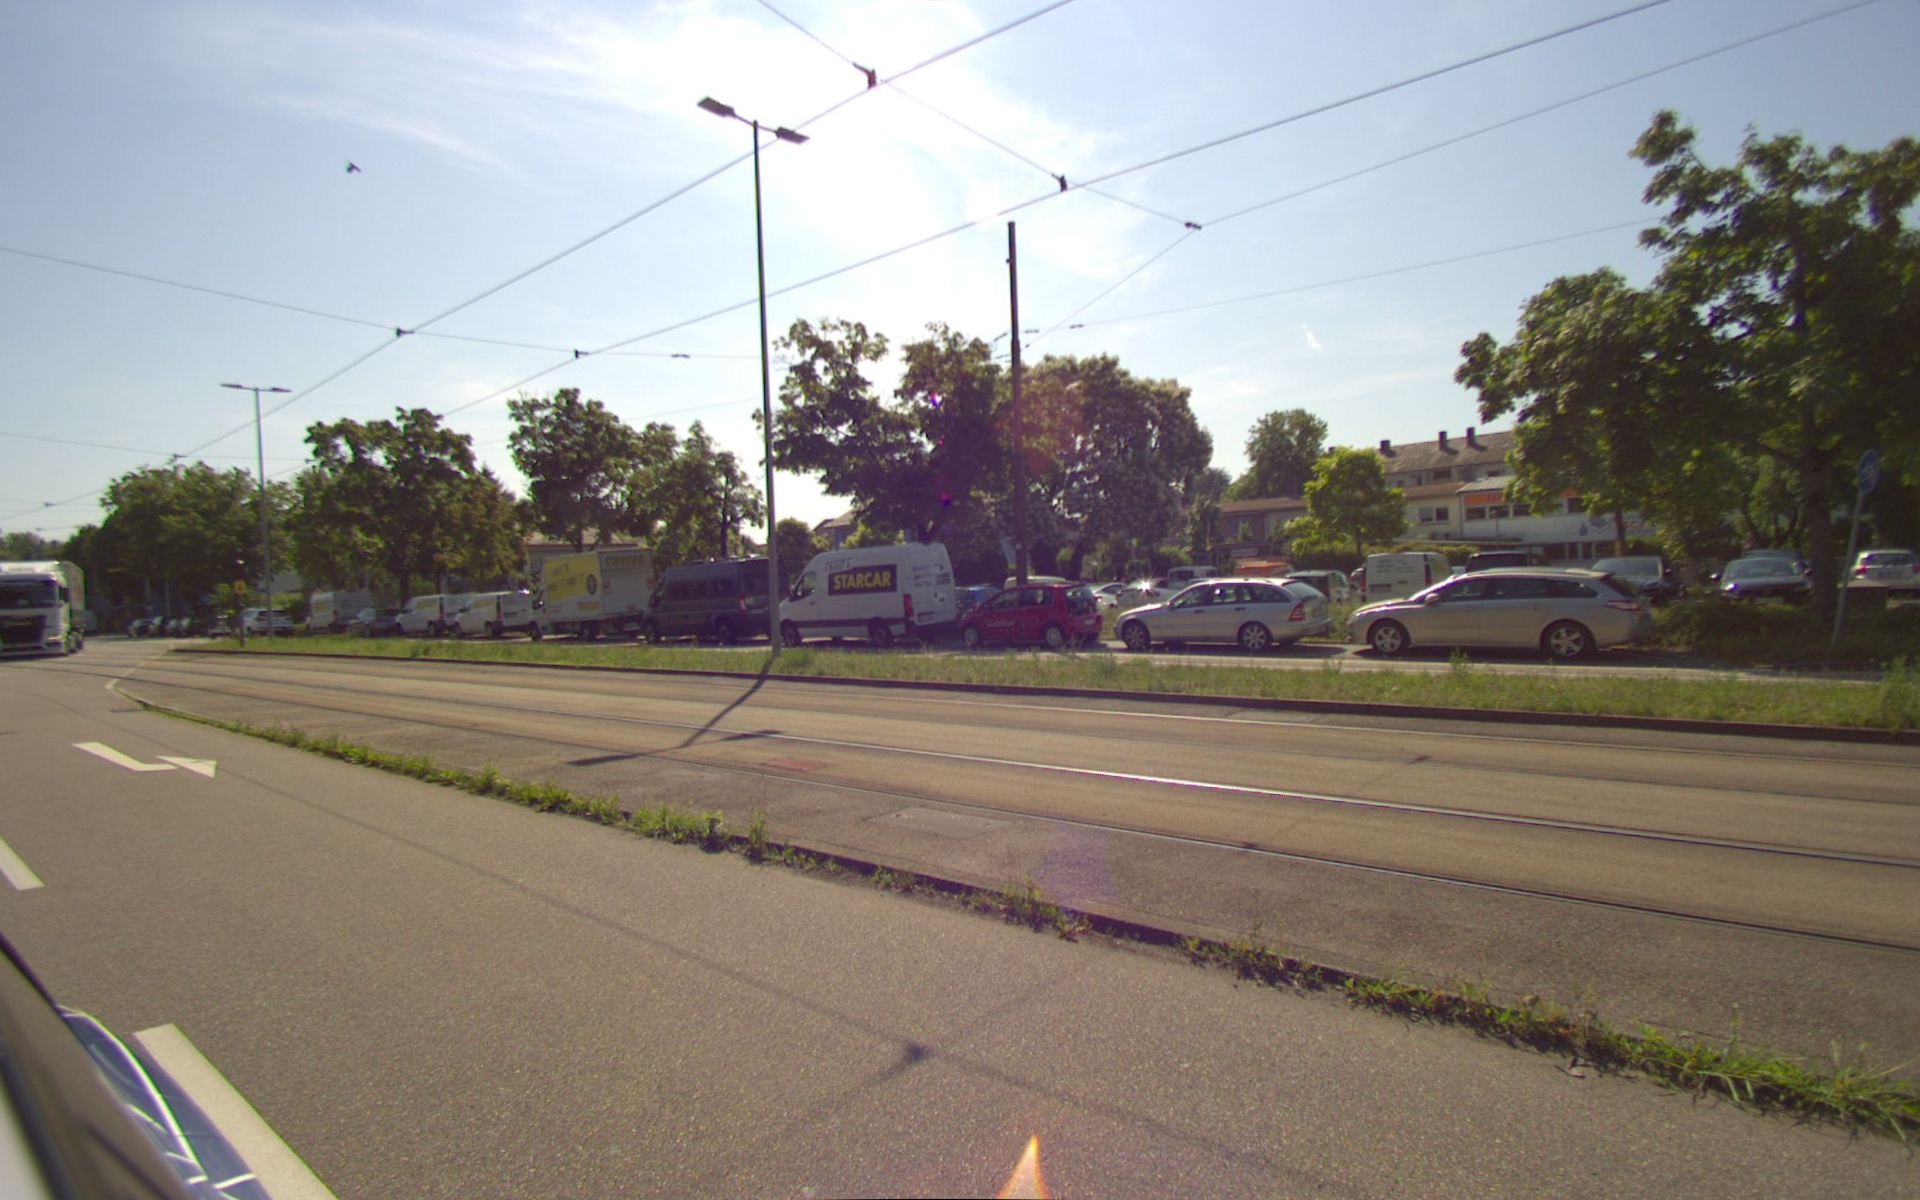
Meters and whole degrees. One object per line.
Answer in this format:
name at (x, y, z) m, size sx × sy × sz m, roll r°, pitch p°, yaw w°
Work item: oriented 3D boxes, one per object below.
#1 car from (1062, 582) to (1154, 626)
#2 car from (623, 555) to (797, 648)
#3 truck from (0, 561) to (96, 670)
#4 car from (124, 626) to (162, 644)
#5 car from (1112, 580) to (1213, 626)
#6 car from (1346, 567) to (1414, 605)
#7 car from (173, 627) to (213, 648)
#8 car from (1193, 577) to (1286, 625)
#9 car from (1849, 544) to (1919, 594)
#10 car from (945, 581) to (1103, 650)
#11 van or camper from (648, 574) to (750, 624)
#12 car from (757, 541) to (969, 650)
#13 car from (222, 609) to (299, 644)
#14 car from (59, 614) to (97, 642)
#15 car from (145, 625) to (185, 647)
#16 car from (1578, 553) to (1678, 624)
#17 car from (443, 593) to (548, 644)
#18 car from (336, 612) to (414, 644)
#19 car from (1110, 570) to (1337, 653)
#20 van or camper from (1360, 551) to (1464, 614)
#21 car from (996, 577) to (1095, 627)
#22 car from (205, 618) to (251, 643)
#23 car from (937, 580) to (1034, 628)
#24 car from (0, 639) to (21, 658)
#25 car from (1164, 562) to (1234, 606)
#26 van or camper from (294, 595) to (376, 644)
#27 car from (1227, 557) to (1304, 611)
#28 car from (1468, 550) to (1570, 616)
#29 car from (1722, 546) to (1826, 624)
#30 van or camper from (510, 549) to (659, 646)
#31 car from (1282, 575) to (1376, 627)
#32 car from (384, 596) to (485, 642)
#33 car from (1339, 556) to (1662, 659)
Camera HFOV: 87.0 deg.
car at (5.259, 0.115, 35.644) m, size 1.487 × 1.381 × 3.950 m, roll -2°, pitch 0°, yaw 37°
car at (-8.144, 0.069, 32.543) m, size 6.075 × 2.688 × 2.174 m, roll -2°, pitch 2°, yaw 41°
truck at (-40.805, 0.749, 44.769) m, size 3.341 × 4.099 × 14.312 m, roll -4°, pitch 2°, yaw -39°
car at (-70.268, 3.015, 87.005) m, size 4.453 × 1.446 × 1.658 m, roll -2°, pitch 0°, yaw 39°
car at (6.766, 0.088, 33.626) m, size 1.658 × 1.381 × 3.949 m, roll -2°, pitch 0°, yaw 38°
car at (17.184, -0.593, 41.328) m, size 1.530 × 1.435 × 3.808 m, roll -2°, pitch 0°, yaw 39°
car at (-57.329, 2.819, 75.618) m, size 4.082 × 1.461 × 1.598 m, roll -2°, pitch 0°, yaw 42°
car at (8.948, -0.003, 32.236) m, size 1.487 × 1.381 × 3.950 m, roll -2°, pitch 0°, yaw 37°
car at (28.960, -0.973, 31.511) m, size 1.674 × 1.435 × 3.934 m, roll -2°, pitch 0°, yaw 39°
car at (1.472, 0.371, 24.081) m, size 3.673 × 1.501 × 1.279 m, roll -2°, pitch 1°, yaw 39°
van or camper at (-18.617, -0.103, 72.586) m, size 2.579 × 3.269 × 6.883 m, roll -2°, pitch 1°, yaw 39°
car at (-2.779, -0.079, 27.853) m, size 5.976 × 2.650 × 2.173 m, roll -2°, pitch 2°, yaw 42°
car at (-34.466, 1.323, 49.820) m, size 4.657 × 1.609 × 2.022 m, roll -2°, pitch -1°, yaw 41°
car at (-93.622, 2.971, 107.378) m, size 6.083 × 2.670 × 1.991 m, roll -2°, pitch 4°, yaw 41°
car at (-64.594, 2.907, 82.178) m, size 4.238 × 1.625 × 1.658 m, roll -2°, pitch 1°, yaw 39°
car at (16.373, -0.287, 24.730) m, size 1.661 × 1.574 × 3.948 m, roll -2°, pitch 0°, yaw 39°
car at (-20.116, 0.828, 43.744) m, size 5.184 × 1.955 × 2.173 m, roll -2°, pitch 2°, yaw 42°
car at (-30.078, 1.447, 51.998) m, size 4.883 × 1.465 × 1.912 m, roll -2°, pitch 2°, yaw 41°
car at (5.308, 0.272, 20.800) m, size 4.348 × 1.501 × 1.279 m, roll -2°, pitch 2°, yaw 41°
van or camper at (12.604, -0.498, 28.081) m, size 1.872 × 1.574 × 3.952 m, roll -2°, pitch 0°, yaw 35°
car at (3.236, 0.052, 37.740) m, size 1.662 × 1.707 × 3.946 m, roll -2°, pitch 0°, yaw 40°
car at (-45.944, 1.870, 63.607) m, size 1.766 × 1.433 × 4.349 m, roll -3°, pitch 0°, yaw -28°
car at (1.035, 0.137, 39.506) m, size 1.662 × 1.707 × 3.946 m, roll -2°, pitch 0°, yaw 40°
car at (-66.693, 3.370, 70.374) m, size 3.999 × 1.264 × 1.678 m, roll -2°, pitch 1°, yaw 42°
car at (11.916, -0.825, 50.334) m, size 1.908 × 2.018 × 3.950 m, roll -2°, pitch 0°, yaw 37°
van or camper at (-34.997, 1.098, 56.572) m, size 6.146 × 2.533 × 2.233 m, roll -2°, pitch 0°, yaw 43°
car at (13.482, -0.739, 44.489) m, size 1.908 × 2.216 × 3.950 m, roll -2°, pitch 0°, yaw 37°
car at (14.646, -0.449, 26.420) m, size 1.661 × 1.574 × 3.948 m, roll -2°, pitch 0°, yaw 39°
car at (18.419, -0.347, 22.956) m, size 1.661 × 1.574 × 3.948 m, roll -2°, pitch 0°, yaw 39°
van or camper at (-14.177, -0.025, 37.937) m, size 6.770 × 3.265 × 2.173 m, roll -2°, pitch 2°, yaw 43°
car at (10.844, 0.012, 29.609) m, size 1.486 × 1.381 × 3.950 m, roll -2°, pitch 0°, yaw 37°
car at (-25.111, 0.922, 48.285) m, size 5.176 × 1.955 × 2.176 m, roll -2°, pitch 2°, yaw 37°
car at (9.133, 0.158, 17.394) m, size 4.617 × 1.501 × 1.587 m, roll -2°, pitch 2°, yaw 43°
